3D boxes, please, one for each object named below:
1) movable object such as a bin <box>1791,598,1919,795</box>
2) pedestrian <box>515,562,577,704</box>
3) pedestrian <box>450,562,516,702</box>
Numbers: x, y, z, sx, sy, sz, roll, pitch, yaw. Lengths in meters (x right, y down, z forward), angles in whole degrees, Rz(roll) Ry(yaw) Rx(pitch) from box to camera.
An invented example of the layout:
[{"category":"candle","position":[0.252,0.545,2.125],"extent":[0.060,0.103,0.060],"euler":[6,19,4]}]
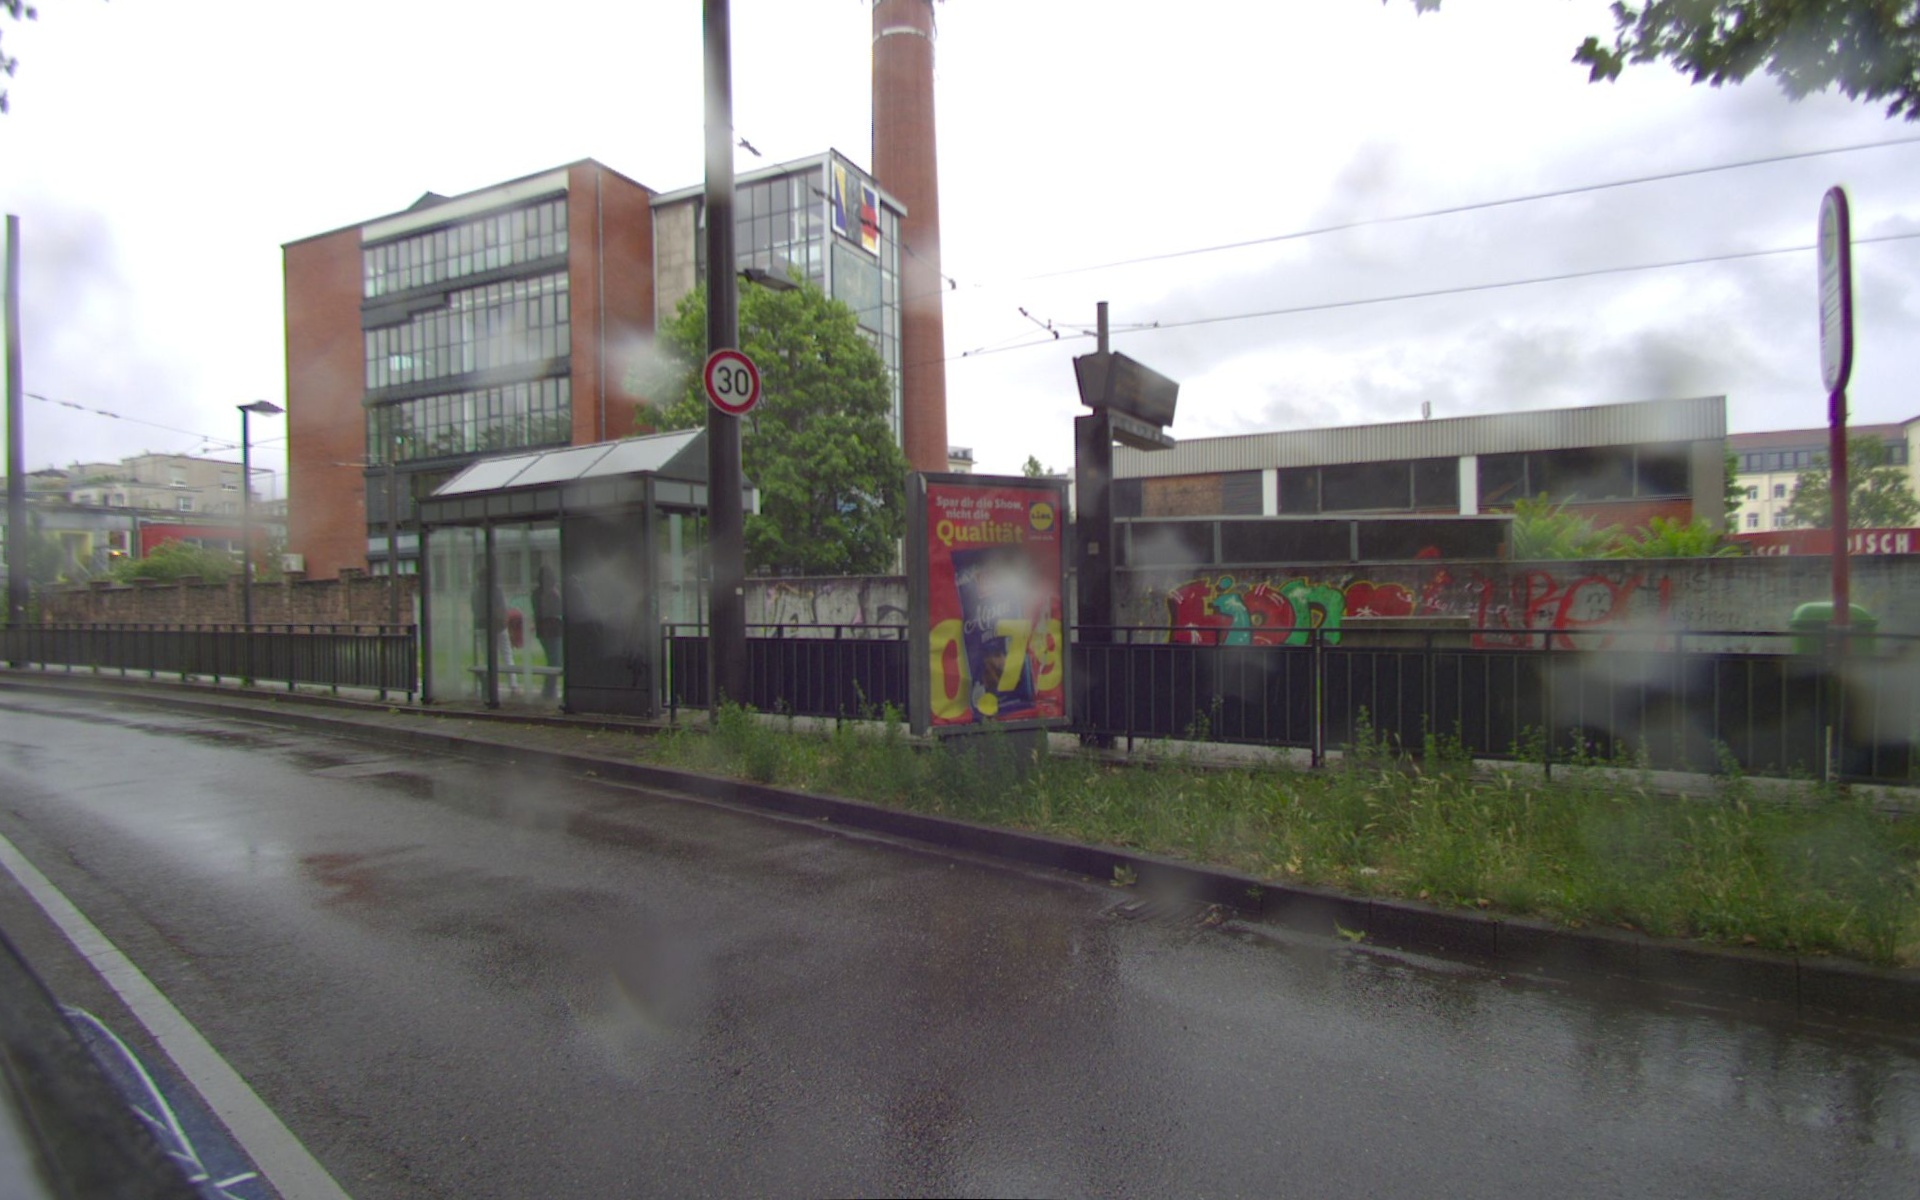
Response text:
[{"category":"movable object such as a bin","position":[5.261,0.544,5.902],"extent":[0.528,1.098,0.414],"euler":[-1,-2,25]},{"category":"pedestrian","position":[-5.204,0.409,12.739],"extent":[0.560,1.744,0.583],"euler":[0,-2,-3]},{"category":"pedestrian","position":[-6.075,0.400,12.903],"extent":[0.560,1.744,0.583],"euler":[0,-2,-1]}]
